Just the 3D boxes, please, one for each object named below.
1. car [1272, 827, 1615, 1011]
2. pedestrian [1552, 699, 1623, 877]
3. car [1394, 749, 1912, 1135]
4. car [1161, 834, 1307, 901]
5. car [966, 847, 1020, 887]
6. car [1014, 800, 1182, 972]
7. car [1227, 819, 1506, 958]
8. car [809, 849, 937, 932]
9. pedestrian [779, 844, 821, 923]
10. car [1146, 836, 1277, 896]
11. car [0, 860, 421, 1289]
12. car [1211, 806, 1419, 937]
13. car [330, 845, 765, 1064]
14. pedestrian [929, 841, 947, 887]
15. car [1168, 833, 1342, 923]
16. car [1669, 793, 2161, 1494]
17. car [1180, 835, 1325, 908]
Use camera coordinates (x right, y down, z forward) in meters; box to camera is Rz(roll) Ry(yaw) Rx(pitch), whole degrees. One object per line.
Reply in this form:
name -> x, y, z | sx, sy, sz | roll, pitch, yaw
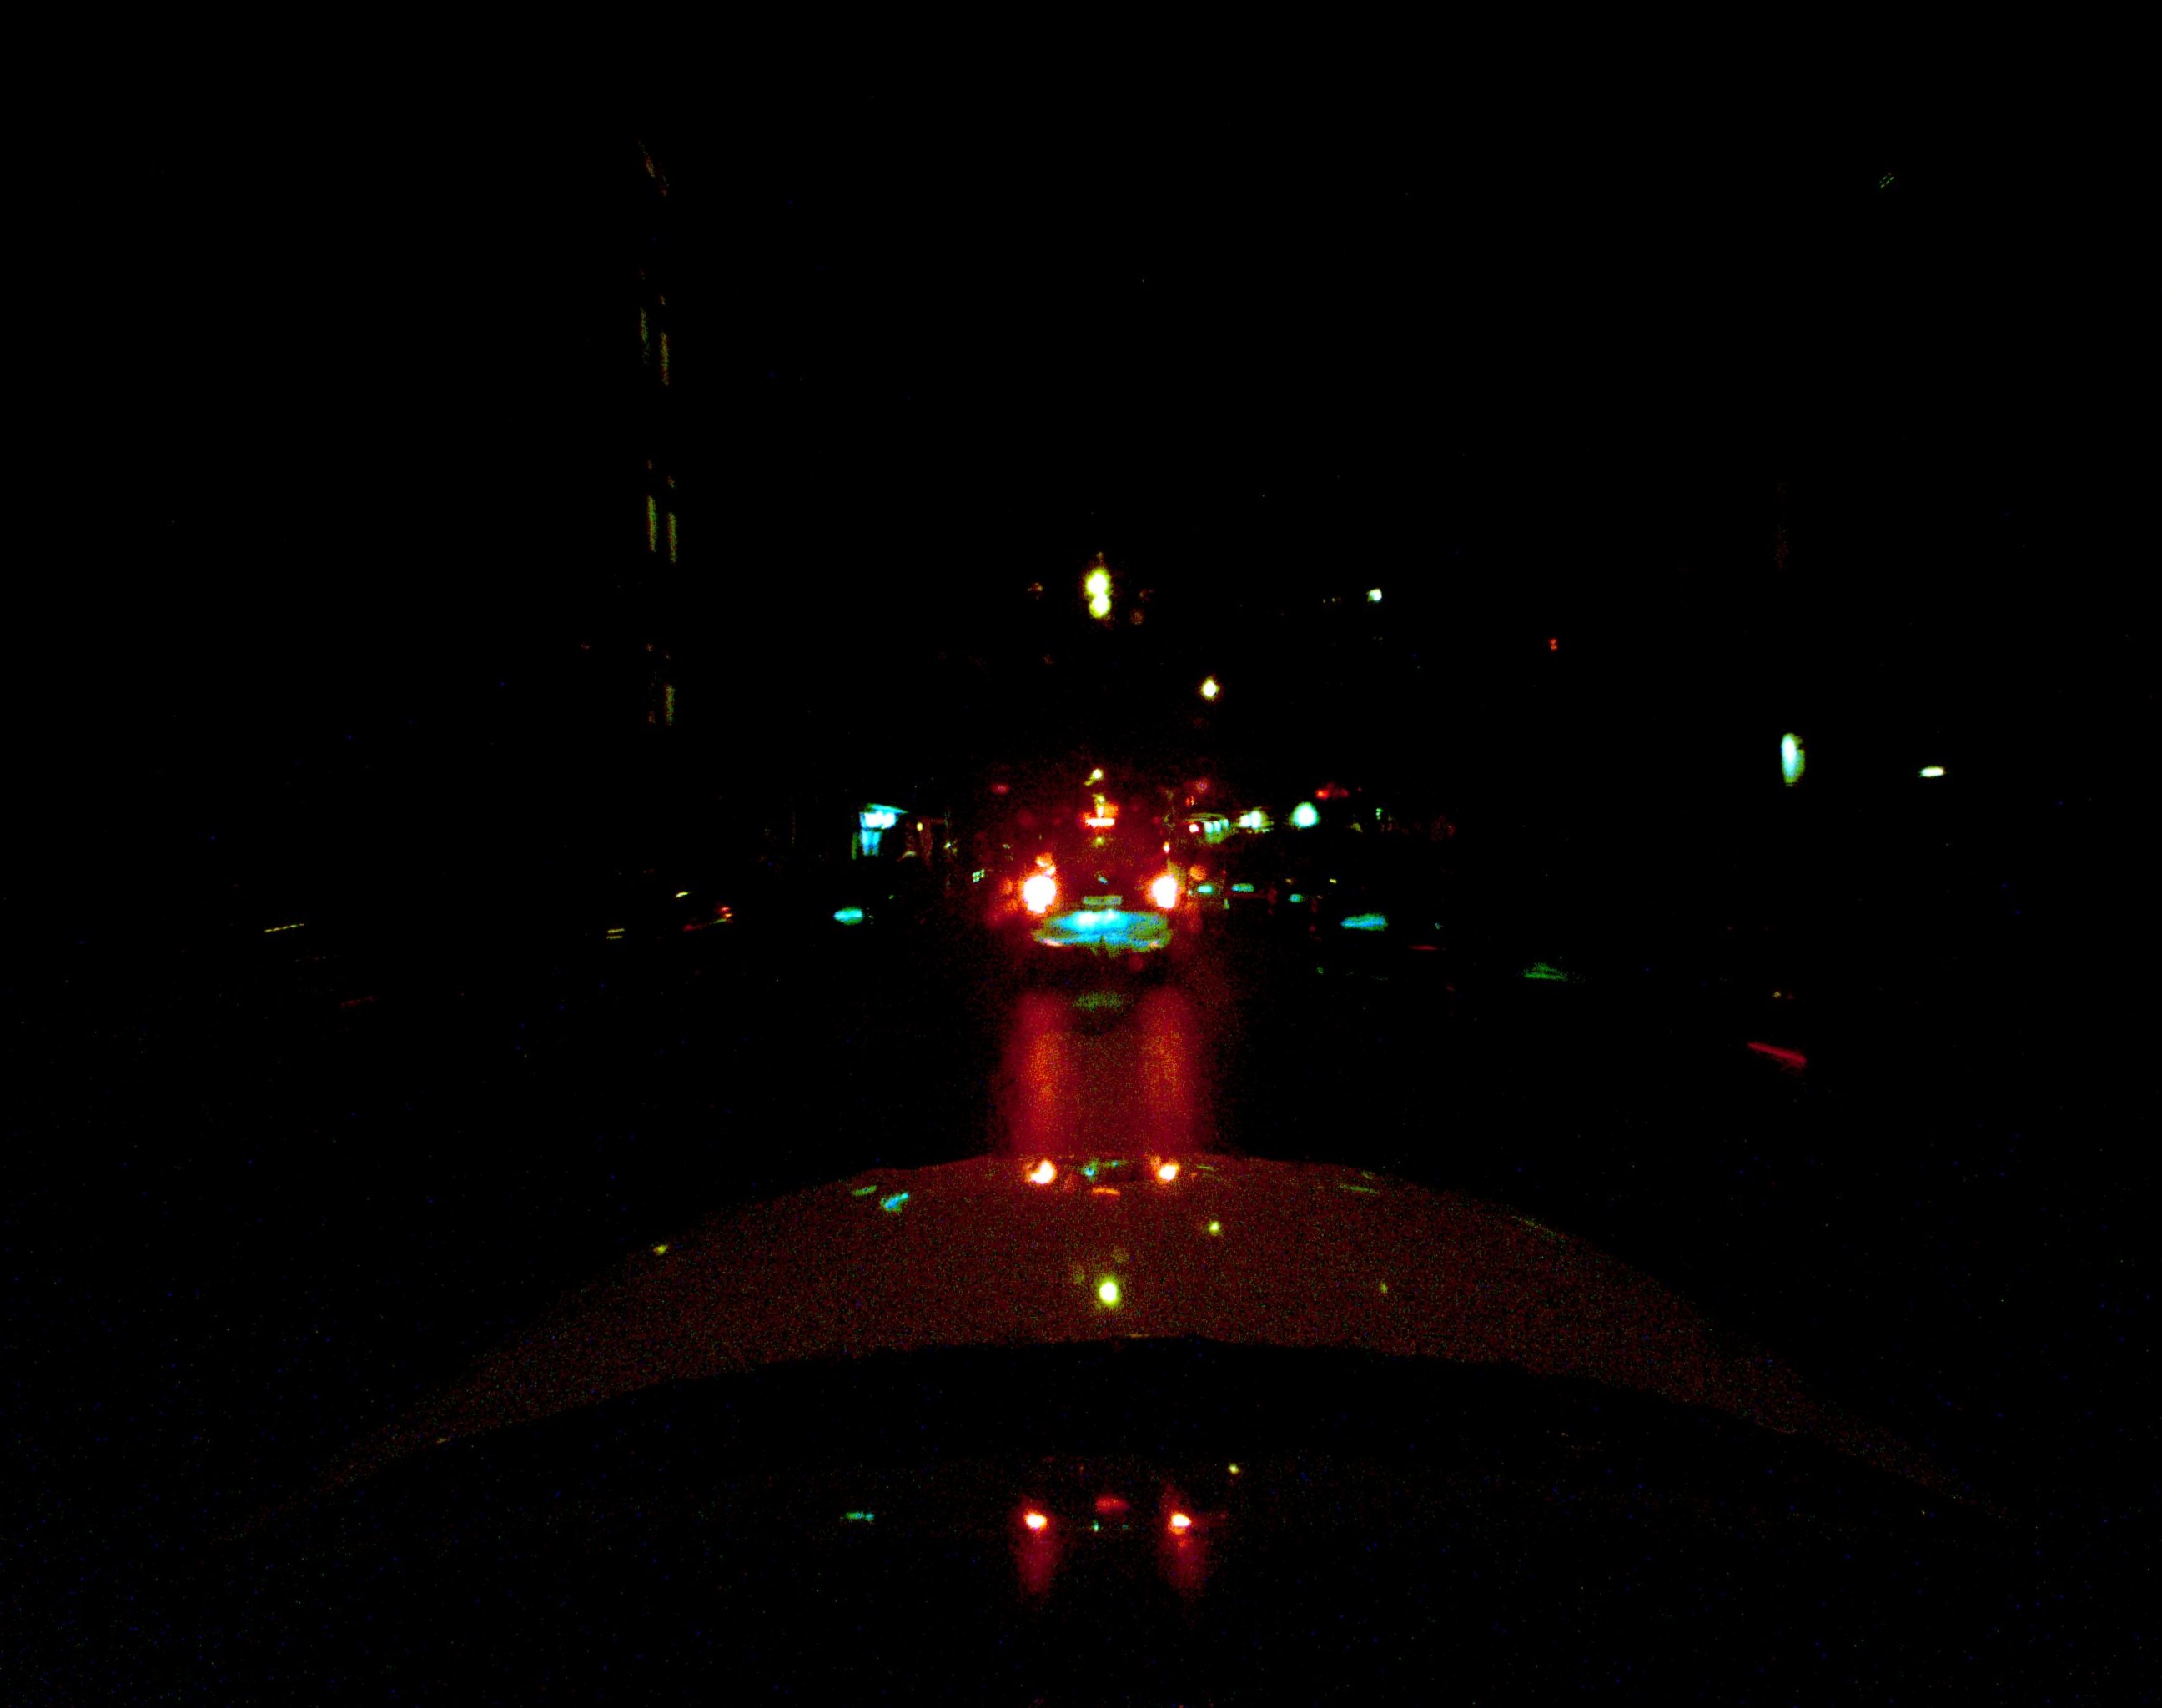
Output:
car -> 3.953, 0.558, 8.735 | 3.580, 1.453, 1.655 | -4, 0, -34
pedestrian -> 10.277, -1.312, 16.554 | 0.888, 3.527, 0.791 | -1, 0, 1
car -> 4.103, 0.342, 5.665 | 3.766, 1.840, 1.707 | -4, 0, -35
car -> 4.452, 0.331, 23.468 | 4.017, 1.761, 1.860 | -1, 0, -35
car -> -3.975, 0.546, 37.338 | 1.877, 1.685, 4.002 | -1, 0, 2
car -> 0.263, 0.404, 11.894 | 1.986, 2.050, 4.001 | -1, -1, 1
car -> 4.342, 0.420, 12.195 | 4.017, 1.587, 1.860 | -5, 1, -35
car -> -4.336, 0.695, 17.638 | 1.808, 1.557, 4.073 | -1, 0, -2
pedestrian -> -6.195, 0.650, 17.962 | 0.698, 1.704, 0.539 | -1, 0, 1
car -> 4.246, 0.335, 26.311 | 4.017, 1.761, 1.860 | -1, 0, -35
car -> -4.606, 0.801, 2.710 | 1.581, 1.482, 3.795 | -1, 0, 3
car -> 4.243, 0.242, 14.597 | 3.581, 1.990, 1.588 | -4, 0, -35
car -> -4.673, 0.723, 7.983 | 1.651, 1.557, 4.073 | -1, 0, -2
pedestrian -> -6.047, 0.425, 34.472 | 0.659, 1.904, 0.538 | -1, 0, -3
car -> 3.776, 0.476, 17.480 | 3.581, 1.590, 1.588 | -4, 0, -35
car -> 3.784, 0.550, 2.781 | 3.580, 1.484, 1.708 | -4, 0, -34
car -> 4.493, 0.401, 21.153 | 3.586, 1.733, 1.671 | -1, 0, -35
